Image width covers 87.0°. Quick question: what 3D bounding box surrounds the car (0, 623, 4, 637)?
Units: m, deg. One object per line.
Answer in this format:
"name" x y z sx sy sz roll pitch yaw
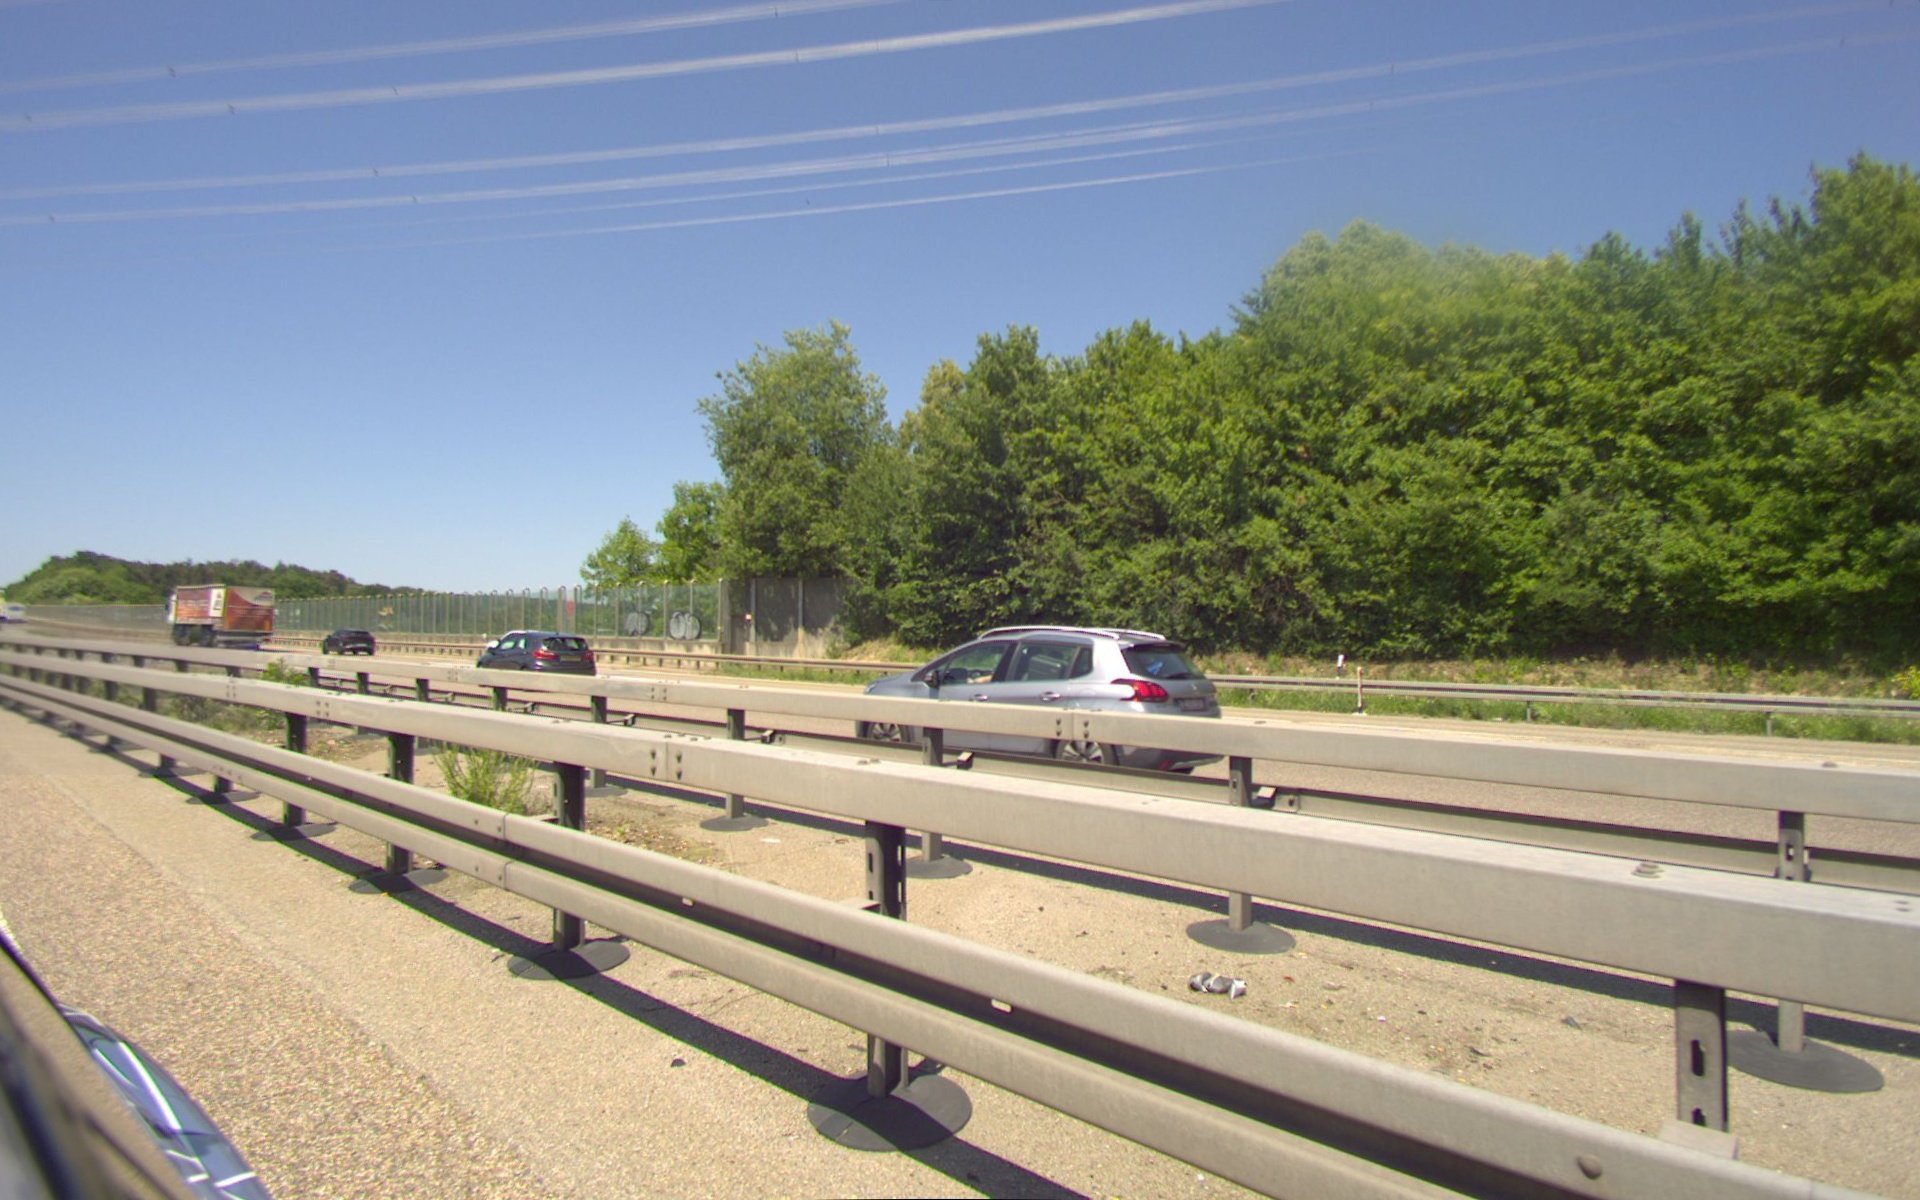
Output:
"car" -135.578 4.183 141.775 4.896 1.955 1.972 -1 0 43

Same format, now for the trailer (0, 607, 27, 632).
"trailer" -169.772 3.466 180.456 14.039 4.267 3.946 -1 -1 43

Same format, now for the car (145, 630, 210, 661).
"car" -41.194 2.360 53.237 4.302 1.478 1.831 -1 -2 41

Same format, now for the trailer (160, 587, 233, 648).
"trailer" -52.303 1.258 69.267 6.129 4.007 2.727 -2 -4 42

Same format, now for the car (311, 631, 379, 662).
"car" -35.833 2.675 58.920 5.274 1.588 1.972 -1 0 42

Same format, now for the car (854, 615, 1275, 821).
"car" 0.932 0.993 10.244 3.948 1.643 1.755 -1 0 41

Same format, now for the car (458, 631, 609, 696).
"car" -10.827 1.558 25.602 4.143 1.457 1.856 -1 -2 41

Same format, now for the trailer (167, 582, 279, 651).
"trailer" -47.489 1.177 64.902 14.676 4.007 2.734 -2 -4 42

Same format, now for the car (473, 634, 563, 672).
"car" -18.705 2.198 42.767 4.341 1.467 1.668 -1 -3 39
